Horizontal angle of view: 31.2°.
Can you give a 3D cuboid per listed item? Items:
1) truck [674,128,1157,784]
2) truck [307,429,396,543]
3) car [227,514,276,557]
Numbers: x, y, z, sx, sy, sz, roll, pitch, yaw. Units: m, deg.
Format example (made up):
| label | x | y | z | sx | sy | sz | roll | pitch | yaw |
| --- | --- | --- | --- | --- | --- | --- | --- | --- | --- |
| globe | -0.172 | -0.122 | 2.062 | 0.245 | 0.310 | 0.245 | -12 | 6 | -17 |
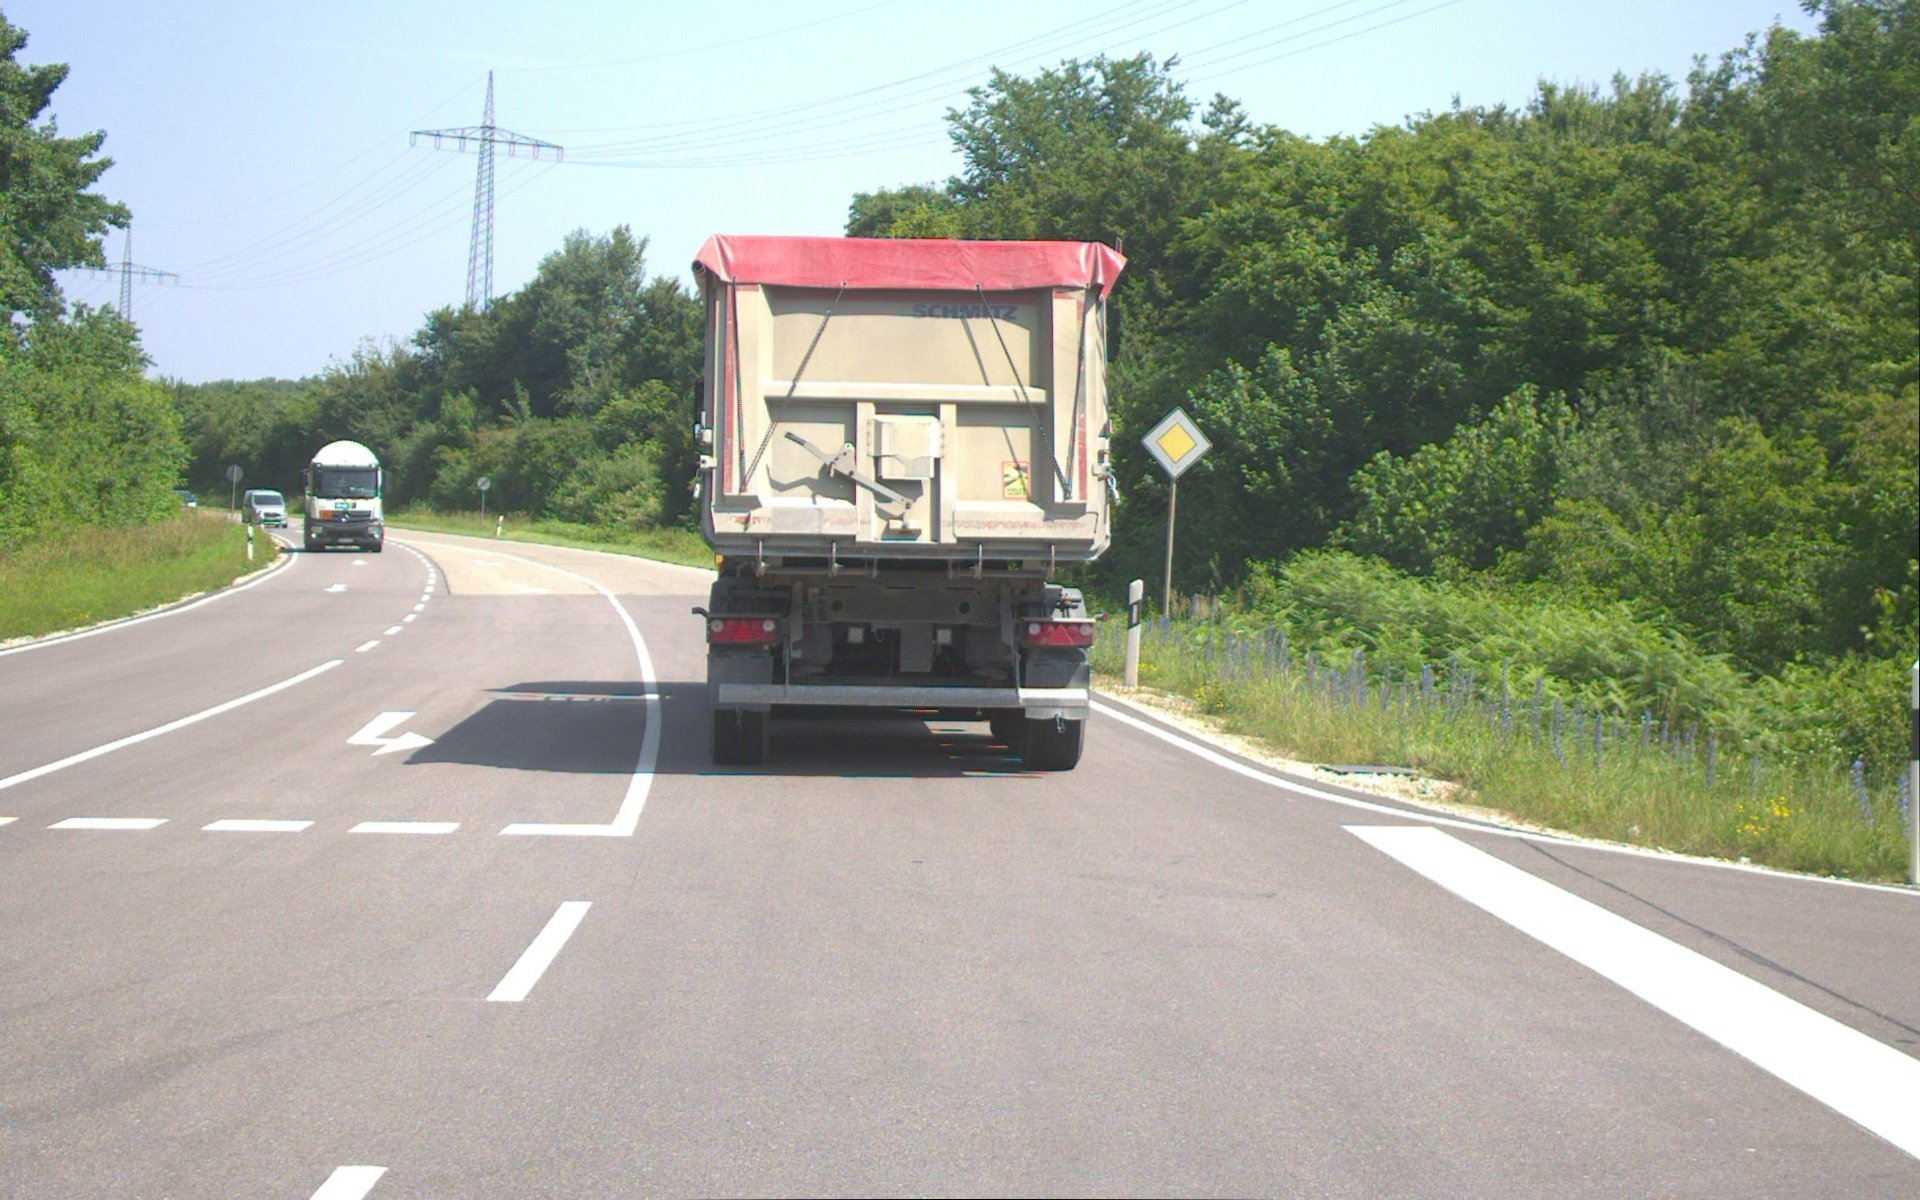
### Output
| label | x | y | z | sx | sy | sz | roll | pitch | yaw |
| --- | --- | --- | --- | --- | --- | --- | --- | --- | --- |
| truck | -0.719 | -1.017 | 26.829 | 2.893 | 3.949 | 11.935 | 1 | 1 | -4 |
| truck | -20.315 | -3.773 | 115.114 | 2.626 | 3.658 | 8.799 | 0 | 1 | -8 |
| car | -29.552 | -2.674 | 143.547 | 1.842 | 1.773 | 4.895 | 0 | 1 | -10 |
